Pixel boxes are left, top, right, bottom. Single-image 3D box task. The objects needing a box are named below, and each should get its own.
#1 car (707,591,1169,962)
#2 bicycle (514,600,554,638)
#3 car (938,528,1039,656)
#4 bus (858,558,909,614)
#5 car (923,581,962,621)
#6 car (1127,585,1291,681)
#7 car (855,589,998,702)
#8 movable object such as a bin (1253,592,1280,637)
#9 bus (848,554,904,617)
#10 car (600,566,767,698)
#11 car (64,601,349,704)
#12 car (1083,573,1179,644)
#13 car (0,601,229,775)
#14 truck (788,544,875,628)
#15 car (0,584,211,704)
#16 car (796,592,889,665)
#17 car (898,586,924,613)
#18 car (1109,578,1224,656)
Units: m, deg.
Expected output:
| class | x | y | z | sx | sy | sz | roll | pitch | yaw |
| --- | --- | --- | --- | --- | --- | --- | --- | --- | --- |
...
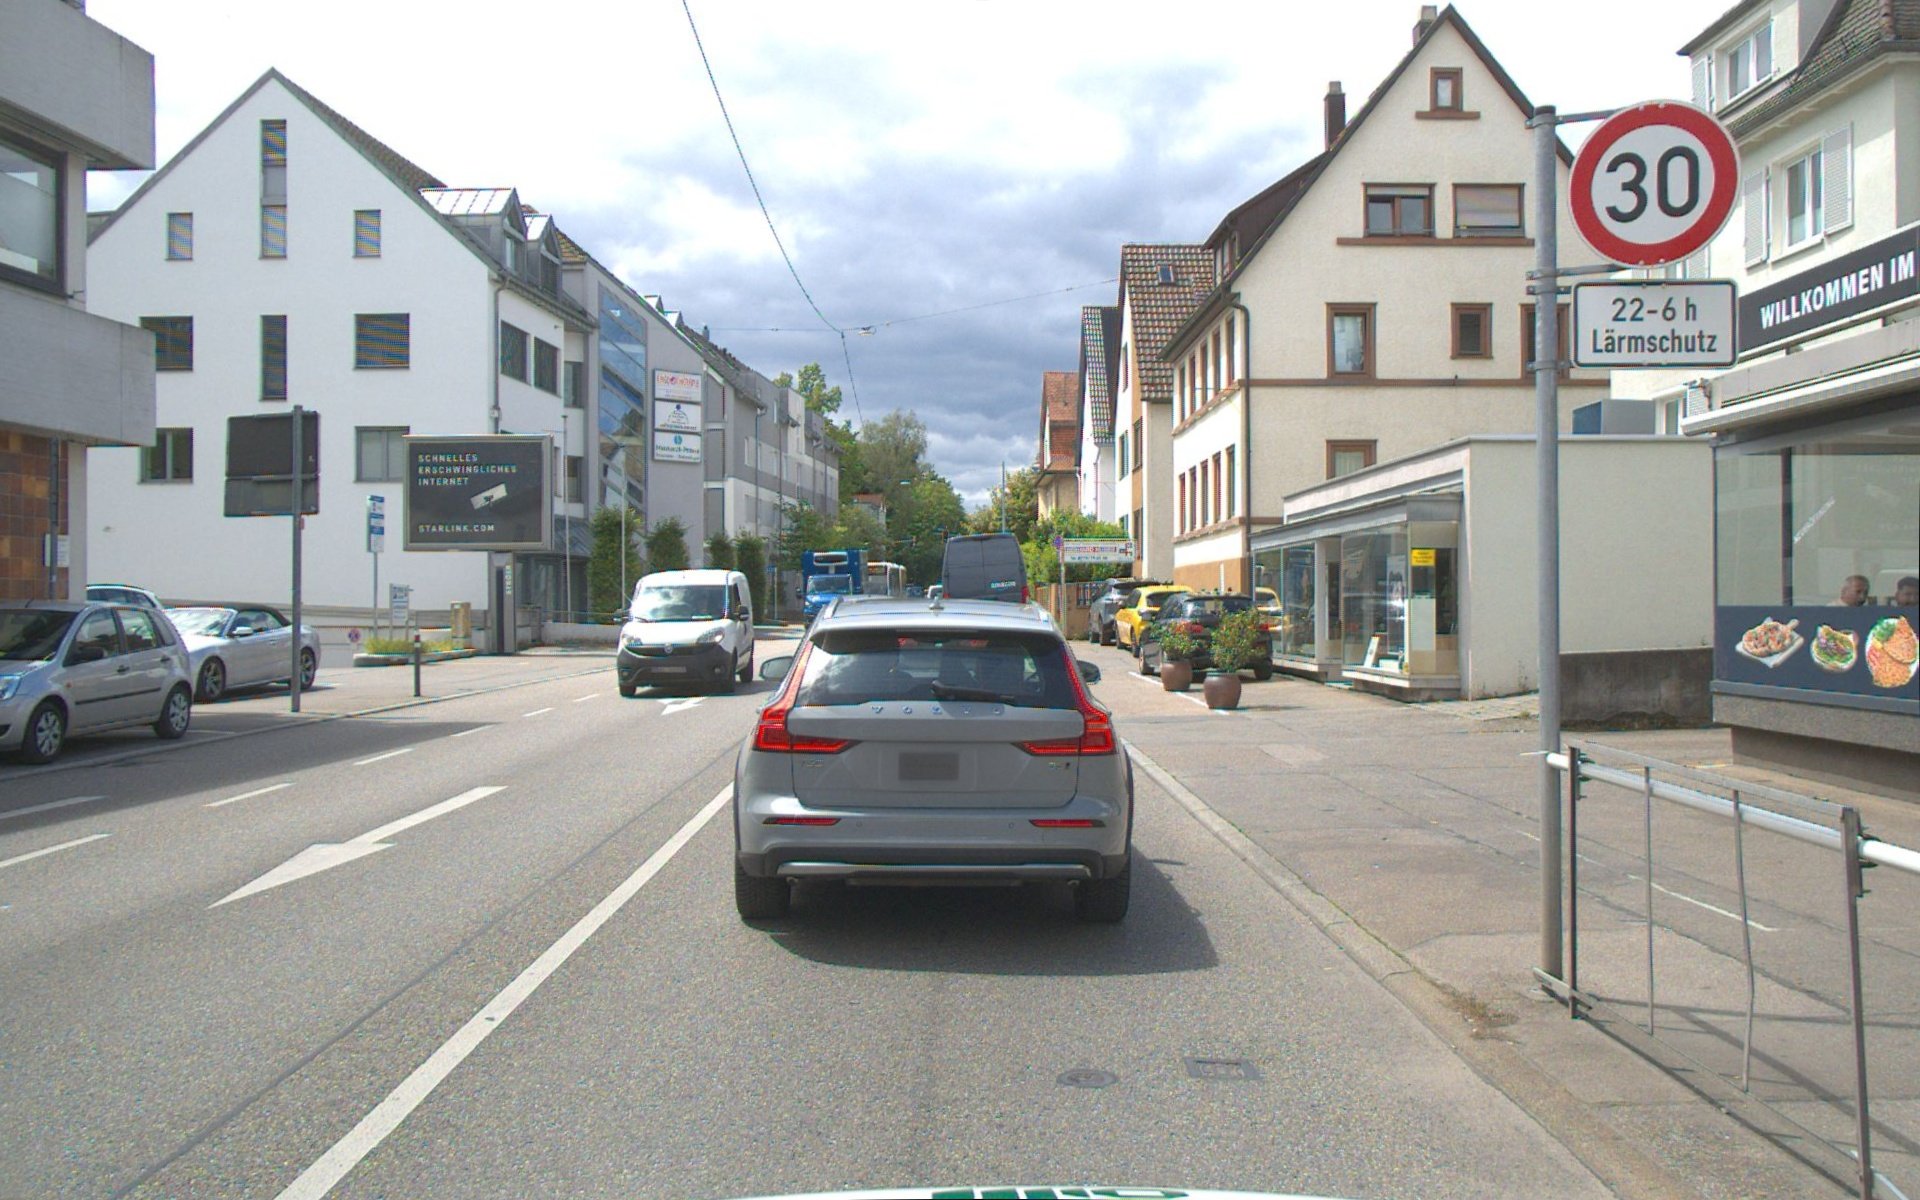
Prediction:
| class | x | y | z | sx | sy | sz | roll | pitch | yaw |
| --- | --- | --- | --- | --- | --- | --- | --- | --- | --- |
| car | -0.050 | 0.702 | 8.670 | 1.857 | 1.479 | 3.969 | 0 | 0 | 1 |
| bicycle | -12.766 | 0.561 | 49.602 | 0.617 | 1.114 | 2.003 | -1 | 0 | 1 |
| car | 0.623 | -0.193 | 39.806 | 2.206 | 2.844 | 5.568 | -1 | 0 | 0 |
| bus | -4.589 | -0.820 | 100.417 | 2.660 | 3.219 | 8.068 | -1 | 0 | 0 |
| car | -0.919 | 0.029 | 88.114 | 1.952 | 2.049 | 4.001 | 0 | 0 | 1 |
| car | 4.158 | 0.500 | 28.325 | 1.929 | 1.473 | 4.533 | -1 | 0 | -3 |
| car | -0.410 | 0.585 | 23.663 | 1.857 | 1.472 | 3.969 | 0 | 0 | 1 |
| movable object such as a bin | 6.451 | 0.301 | 34.830 | 0.490 | 0.941 | 0.598 | -1 | 0 | 3 |
| bus | -4.535 | -0.776 | 91.301 | 2.627 | 3.219 | 10.183 | -1 | 0 | -1 |
| car | -4.180 | 0.442 | 25.680 | 1.906 | 1.852 | 4.277 | -1 | 0 | -1 |
| car | -11.331 | 0.727 | 25.325 | 1.910 | 1.381 | 4.857 | -1 | 0 | 3 |
| car | 4.241 | 0.183 | 41.624 | 1.823 | 1.640 | 4.585 | -2 | 0 | -1 |
| car | -9.058 | 0.760 | 16.359 | 1.686 | 1.447 | 4.149 | 1 | 0 | 2 |
| truck | -5.061 | -0.551 | 66.407 | 2.795 | 3.147 | 8.089 | -1 | 0 | 0 |
| car | -13.902 | 0.633 | 25.595 | 1.910 | 1.647 | 4.933 | -3 | 0 | 6 |
| car | -2.498 | 0.585 | 35.908 | 1.858 | 1.472 | 3.967 | 0 | 0 | -2 |
| car | -4.106 | -0.048 | 139.160 | 2.063 | 2.158 | 4.764 | -1 | 0 | -1 |
| car | 4.536 | 0.318 | 36.840 | 1.839 | 1.472 | 4.306 | -1 | 3 | -3 |
